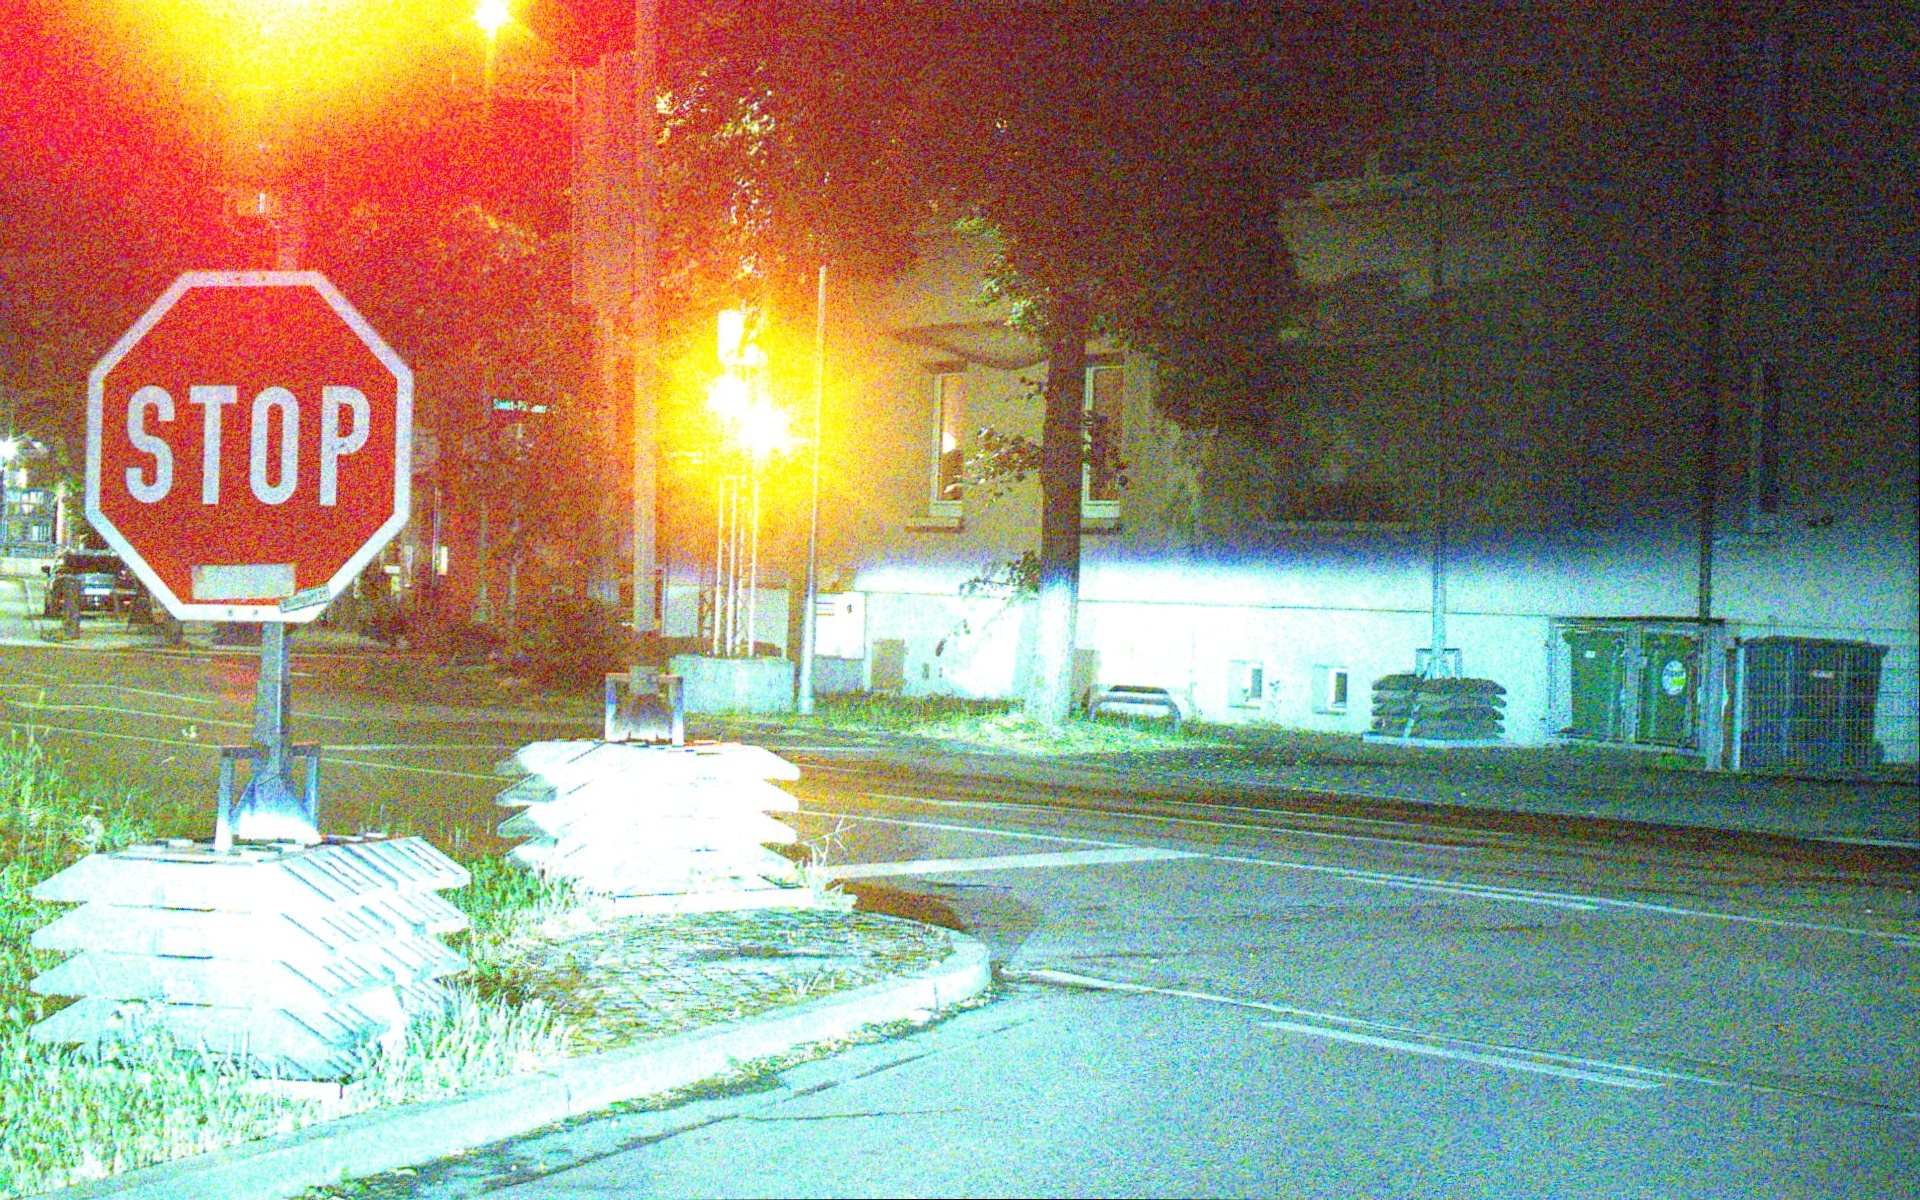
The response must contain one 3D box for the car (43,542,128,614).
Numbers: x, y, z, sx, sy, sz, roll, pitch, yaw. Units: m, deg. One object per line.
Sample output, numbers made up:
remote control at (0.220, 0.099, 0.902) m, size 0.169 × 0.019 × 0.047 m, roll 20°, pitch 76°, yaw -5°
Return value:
car at (-18.271, -0.480, 71.890) m, size 1.651 × 1.426 × 4.001 m, roll 2°, pitch 1°, yaw -14°
